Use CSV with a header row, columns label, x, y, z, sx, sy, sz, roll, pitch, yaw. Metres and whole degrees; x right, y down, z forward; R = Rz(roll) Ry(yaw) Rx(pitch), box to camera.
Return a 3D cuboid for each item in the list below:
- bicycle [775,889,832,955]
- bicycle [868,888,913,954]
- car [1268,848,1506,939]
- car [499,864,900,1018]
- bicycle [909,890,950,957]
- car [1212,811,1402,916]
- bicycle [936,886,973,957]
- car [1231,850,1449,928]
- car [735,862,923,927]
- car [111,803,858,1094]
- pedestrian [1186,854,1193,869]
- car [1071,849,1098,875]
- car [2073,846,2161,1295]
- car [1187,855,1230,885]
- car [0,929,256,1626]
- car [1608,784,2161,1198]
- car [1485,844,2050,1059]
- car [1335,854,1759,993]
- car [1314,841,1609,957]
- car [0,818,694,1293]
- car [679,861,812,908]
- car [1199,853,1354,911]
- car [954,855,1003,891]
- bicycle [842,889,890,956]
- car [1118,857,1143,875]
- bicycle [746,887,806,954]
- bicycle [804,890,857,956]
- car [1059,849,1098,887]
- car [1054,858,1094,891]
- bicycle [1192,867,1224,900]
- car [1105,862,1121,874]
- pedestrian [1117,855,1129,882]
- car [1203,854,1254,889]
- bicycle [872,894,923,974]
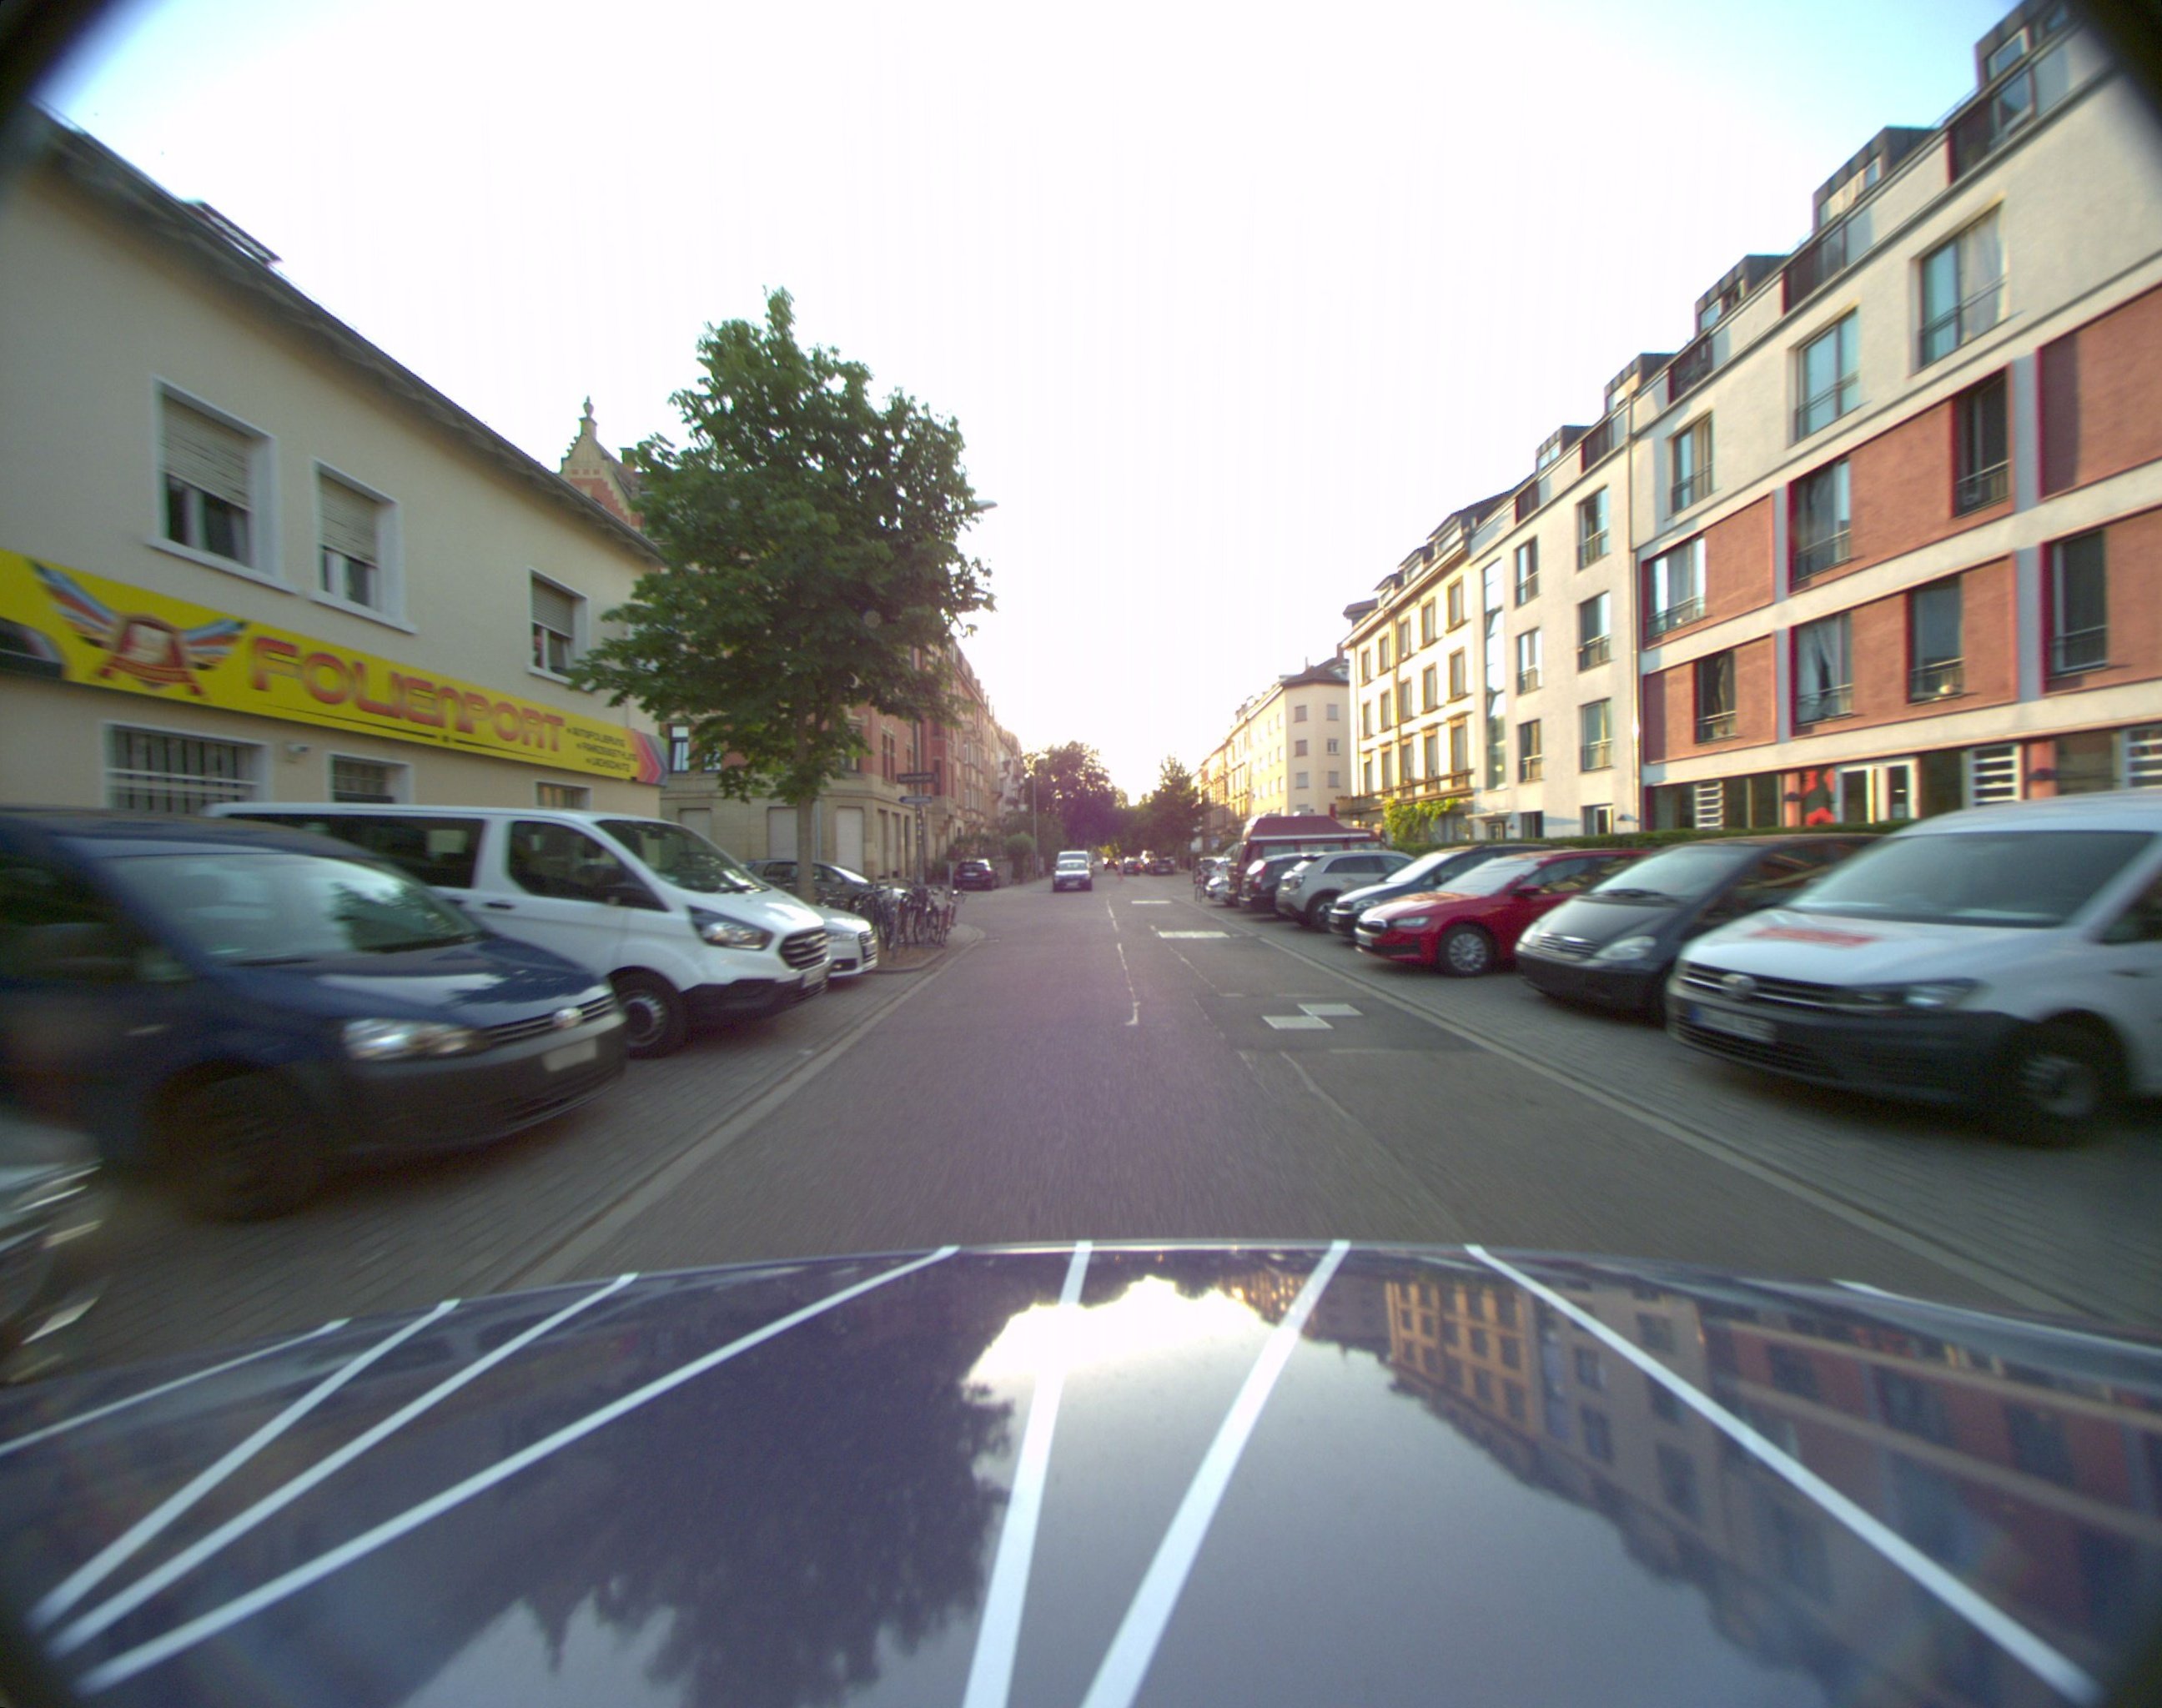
label,x,y,z,sx,sy,sz,roll,pitch,yaw
bicycle,-4.915,1.175,13.554,0.357,1.018,1.785,-2,0,-1
bicycle,-3.388,1.167,13.641,0.357,1.018,1.827,-2,0,-1
car,5.871,0.733,14.960,3.958,1.531,1.755,-2,0,2
car,-4.511,0.996,9.448,4.043,1.557,1.721,-2,0,0
bicycle,-2.705,1.215,13.696,0.357,1.018,1.971,-2,0,-1
car,5.854,0.240,20.084,4.412,2.542,1.932,-2,1,1
bicycle,-2.254,1.173,13.676,0.357,1.093,1.971,-2,0,-1
car,5.784,0.754,17.314,4.347,1.515,1.705,-2,0,0
car,-6.118,0.945,18.721,3.995,1.482,1.805,0,-1,5
car,-4.839,0.723,6.749,4.971,2.089,2.151,-2,1,4
pedestrian,10.635,0.724,74.319,0.645,1.525,0.638,-1,1,3
car,0.276,0.630,61.223,1.999,2.002,3.999,-2,0,-1
car,5.886,0.730,2.161,4.000,1.579,2.052,-1,0,-8
car,7.042,0.846,42.196,1.597,1.513,3.737,-3,0,-1
car,-4.762,0.986,1.199,4.733,1.487,2.000,-1,0,0
car,5.872,0.603,4.548,4.189,1.884,1.897,-1,0,-3
car,5.945,0.768,6.918,3.540,1.553,1.784,-2,0,-2
car,5.689,0.810,9.695,4.273,1.485,1.788,-2,0,1
car,5.991,0.678,12.324,3.895,1.608,1.700,-2,0,2
car,-4.741,0.776,4.077,4.302,1.847,2.000,1,0,3
car,-13.010,1.155,29.653,4.344,1.656,1.779,-2,0,-2
car,5.716,0.795,22.463,3.989,1.408,1.803,-3,0,-6
car,-4.707,0.850,35.540,1.800,1.515,3.999,-2,0,-1
bicycle,-3.828,1.190,13.633,0.357,1.018,1.785,-2,0,-1
car,4.176,0.969,64.088,1.762,1.478,3.783,0,0,-1
bicycle,-5.401,1.142,13.536,0.357,1.018,1.785,-2,0,-1
bicycle,-4.446,1.194,13.587,0.357,1.018,1.785,-2,0,-1
car,-0.179,0.710,40.996,1.939,1.893,4.054,-2,0,-1
car,-0.360,0.902,35.236,1.733,1.367,3.762,-2,0,-1
bicycle,4.589,1.047,27.641,0.805,1.047,2.415,-2,0,2
car,4.210,1.876,101.076,1.890,1.513,4.000,-1,0,0
pedestrian,2.439,0.824,44.008,0.600,1.565,0.639,-1,1,-5
car,7.143,0.820,37.137,1.679,1.502,3.582,-3,0,-1
bicycle,-2.770,1.177,11.603,0.357,1.018,1.785,-2,0,-1
